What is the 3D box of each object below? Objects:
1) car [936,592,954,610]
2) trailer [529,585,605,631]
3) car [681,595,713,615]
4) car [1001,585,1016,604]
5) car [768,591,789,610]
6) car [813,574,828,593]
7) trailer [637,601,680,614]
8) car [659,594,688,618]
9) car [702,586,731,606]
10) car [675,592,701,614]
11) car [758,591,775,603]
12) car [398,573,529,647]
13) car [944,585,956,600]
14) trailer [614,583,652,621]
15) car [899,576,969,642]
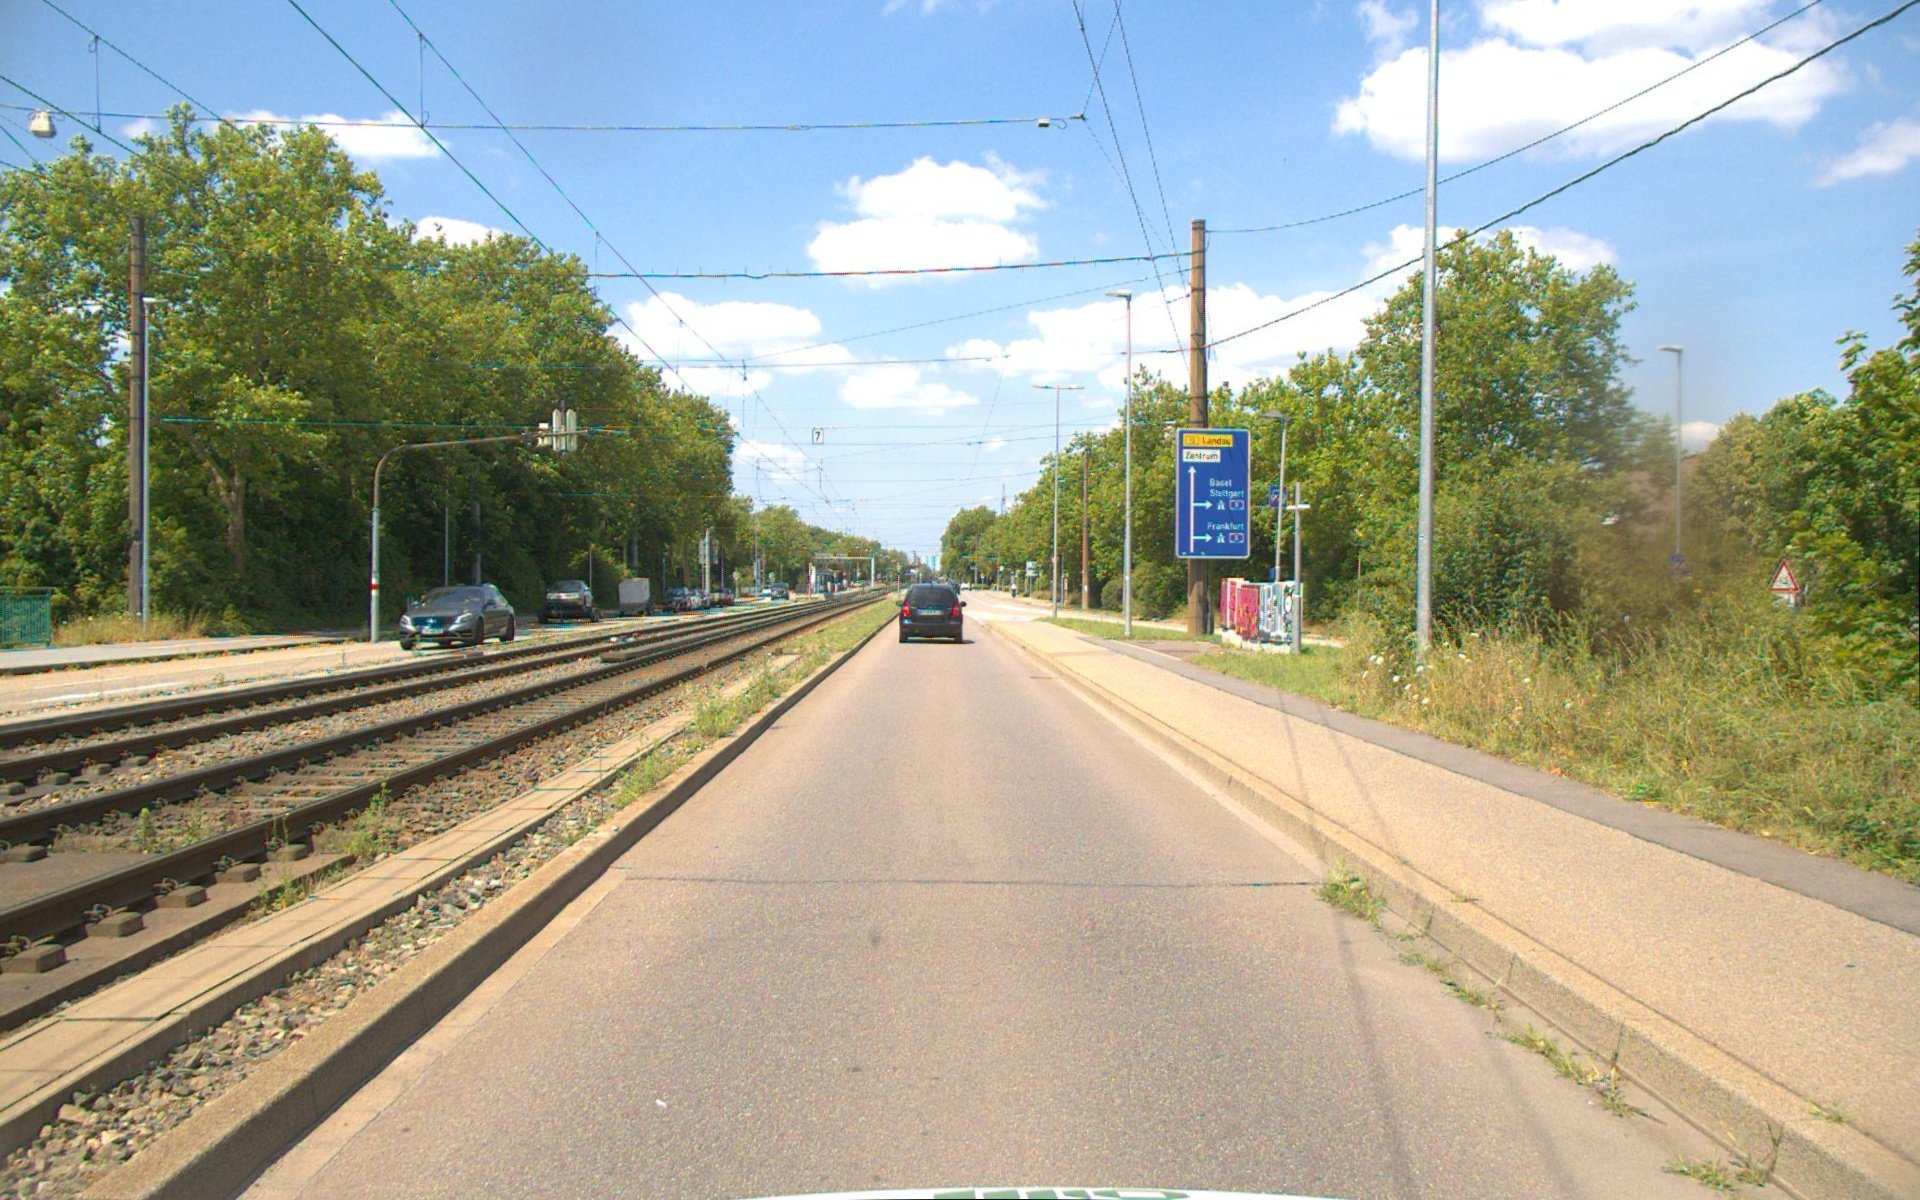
[{"bbox_3d":[-1.608,0.109,179.653,1.846,1.668,4.000,4,1,0],"label":"car"},{"bbox_3d":[-17.326,0.322,73.236,2.414,1.922,5.955,1,0,-6],"label":"trailer"},{"bbox_3d":[-19.160,0.362,120.482,1.833,1.425,4.415,1,0,-3],"label":"car"},{"bbox_3d":[5.695,-0.655,194.735,1.580,2.048,3.439,2,1,-2],"label":"car"},{"bbox_3d":[-20.149,0.065,183.750,1.953,2.049,3.999,0,0,-1],"label":"car"},{"bbox_3d":[-15.980,-1.921,189.356,1.554,2.048,4.108,2,1,-3],"label":"car"},{"bbox_3d":[-18.286,0.486,100.461,1.953,0.755,3.998,0,-1,-2],"label":"trailer"},{"bbox_3d":[-18.840,0.382,108.750,1.405,1.477,3.919,1,0,-3],"label":"car"},{"bbox_3d":[-20.393,-0.309,138.742,1.953,1.601,3.999,1,0,-2],"label":"car"},{"bbox_3d":[-18.892,0.224,114.946,1.405,1.477,3.739,1,0,-3],"label":"car"},{"bbox_3d":[-26.204,-0.386,224.232,1.953,1.601,3.999,1,0,-1],"label":"car"},{"bbox_3d":[-12.457,0.236,41.842,1.837,1.750,5.328,1,0,-2],"label":"car"},{"bbox_3d":[-1.444,-1.135,242.127,1.750,2.048,4.000,2,1,-1],"label":"car"},{"bbox_3d":[-18.468,0.083,93.649,1.578,2.049,3.913,2,1,-4],"label":"trailer"},{"bbox_3d":[-0.695,0.199,45.704,1.815,1.597,4.388,1,2,0],"label":"car"}]
